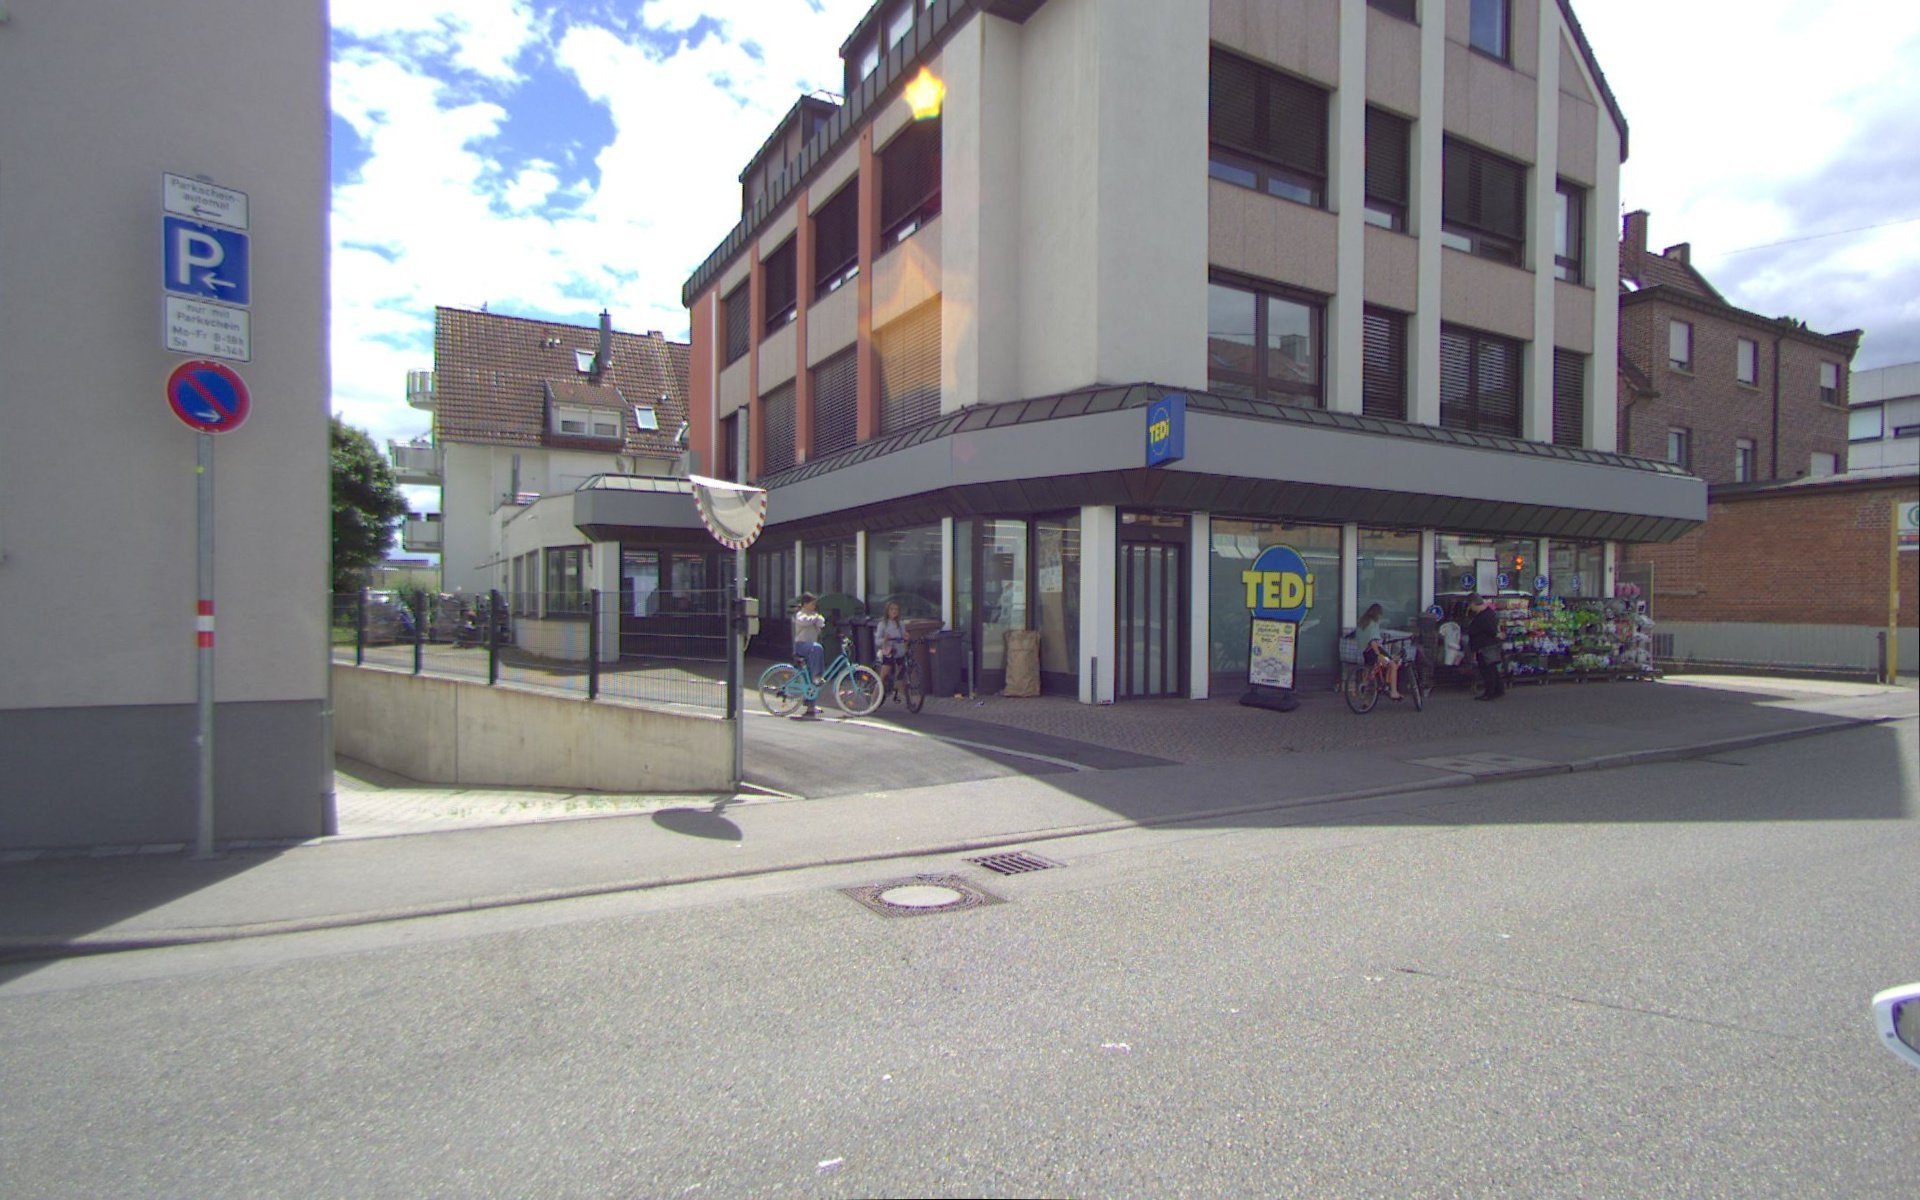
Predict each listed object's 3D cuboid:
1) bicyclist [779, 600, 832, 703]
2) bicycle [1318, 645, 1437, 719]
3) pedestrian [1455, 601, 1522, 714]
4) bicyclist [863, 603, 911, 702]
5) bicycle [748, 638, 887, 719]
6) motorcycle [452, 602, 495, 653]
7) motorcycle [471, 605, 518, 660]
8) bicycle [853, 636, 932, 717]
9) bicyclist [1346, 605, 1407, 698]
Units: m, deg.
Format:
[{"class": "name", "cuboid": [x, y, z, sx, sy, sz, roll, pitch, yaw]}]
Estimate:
[{"class": "bicyclist", "cuboid": [-1.852, 0.605, 12.050, 0.489, 1.197, 0.397, 2, 0, 11]}, {"class": "bicycle", "cuboid": [5.528, 1.064, 13.274, 1.756, 0.873, 0.465, 0, 2, -30]}, {"class": "pedestrian", "cuboid": [7.811, 0.832, 14.863, 0.555, 1.624, 0.626, 2, 0, -25]}, {"class": "bicyclist", "cuboid": [-0.916, 0.647, 12.498, 0.392, 1.197, 0.495, 2, 0, -30]}, {"class": "bicycle", "cuboid": [-1.700, 0.928, 12.013, 1.619, 0.908, 0.303, 1, -1, 11]}, {"class": "motorcycle", "cuboid": [-14.368, 0.799, 29.642, 0.917, 1.380, 2.152, 2, 0, -31]}, {"class": "motorcycle", "cuboid": [-12.822, 0.882, 27.635, 0.917, 1.380, 2.152, 2, 0, -31]}, {"class": "bicycle", "cuboid": [-0.861, 0.917, 12.454, 0.299, 0.908, 1.543, 1, -1, -31]}, {"class": "bicyclist", "cuboid": [5.517, 0.674, 13.297, 0.617, 1.194, 0.456, 2, -1, -30]}]
